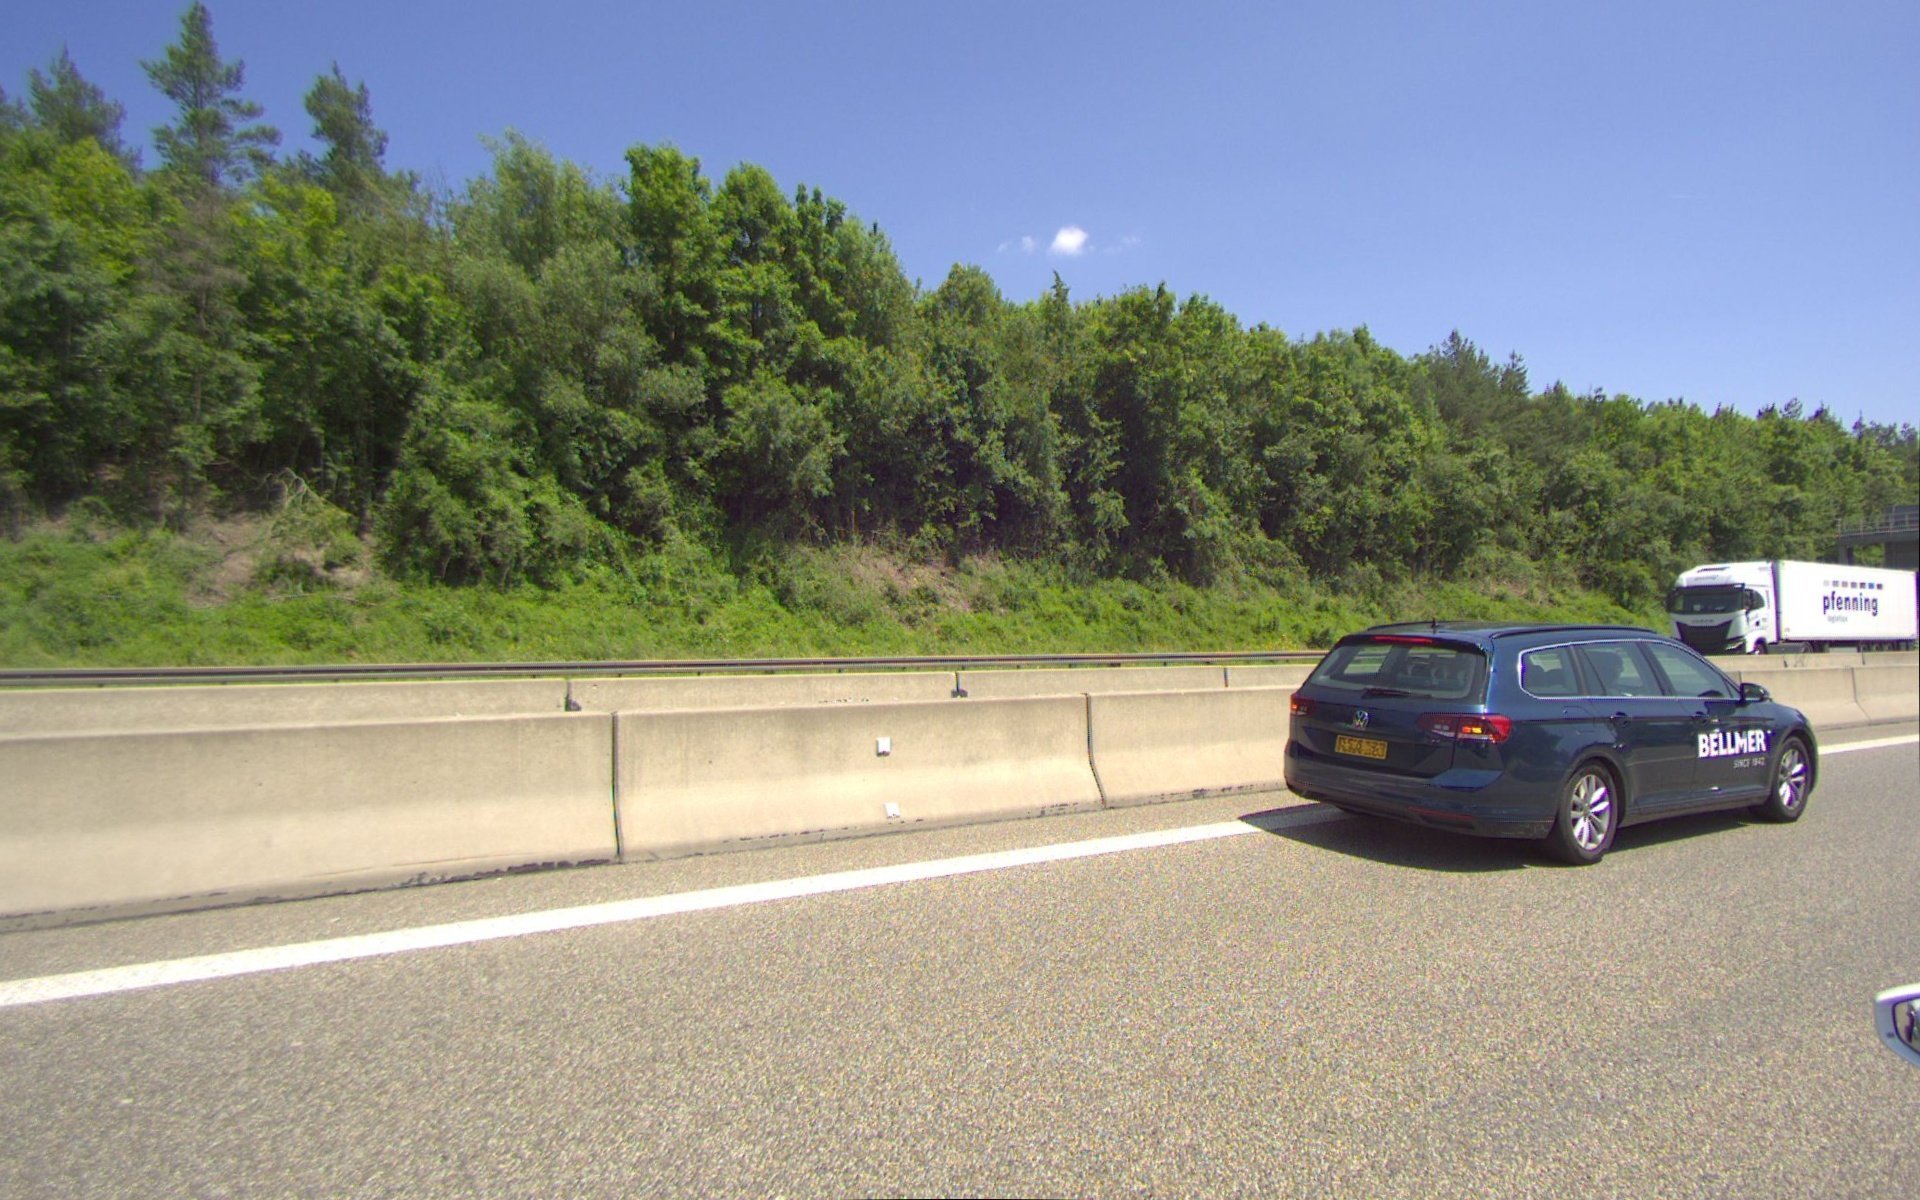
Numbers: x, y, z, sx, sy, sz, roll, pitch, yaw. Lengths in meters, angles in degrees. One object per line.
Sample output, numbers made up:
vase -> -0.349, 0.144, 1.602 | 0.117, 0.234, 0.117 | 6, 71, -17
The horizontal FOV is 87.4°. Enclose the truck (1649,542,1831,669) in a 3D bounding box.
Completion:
truck -> 30.447, 0.317, 39.133 | 7.429, 4.541, 2.935 | 2, 0, -30

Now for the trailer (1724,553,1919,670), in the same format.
trailer -> 36.885, 0.605, 42.858 | 10.690, 4.541, 2.935 | 2, 0, -30

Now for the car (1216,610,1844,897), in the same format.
car -> 4.222, 0.875, 7.242 | 4.623, 1.469, 1.865 | 2, 0, -30
